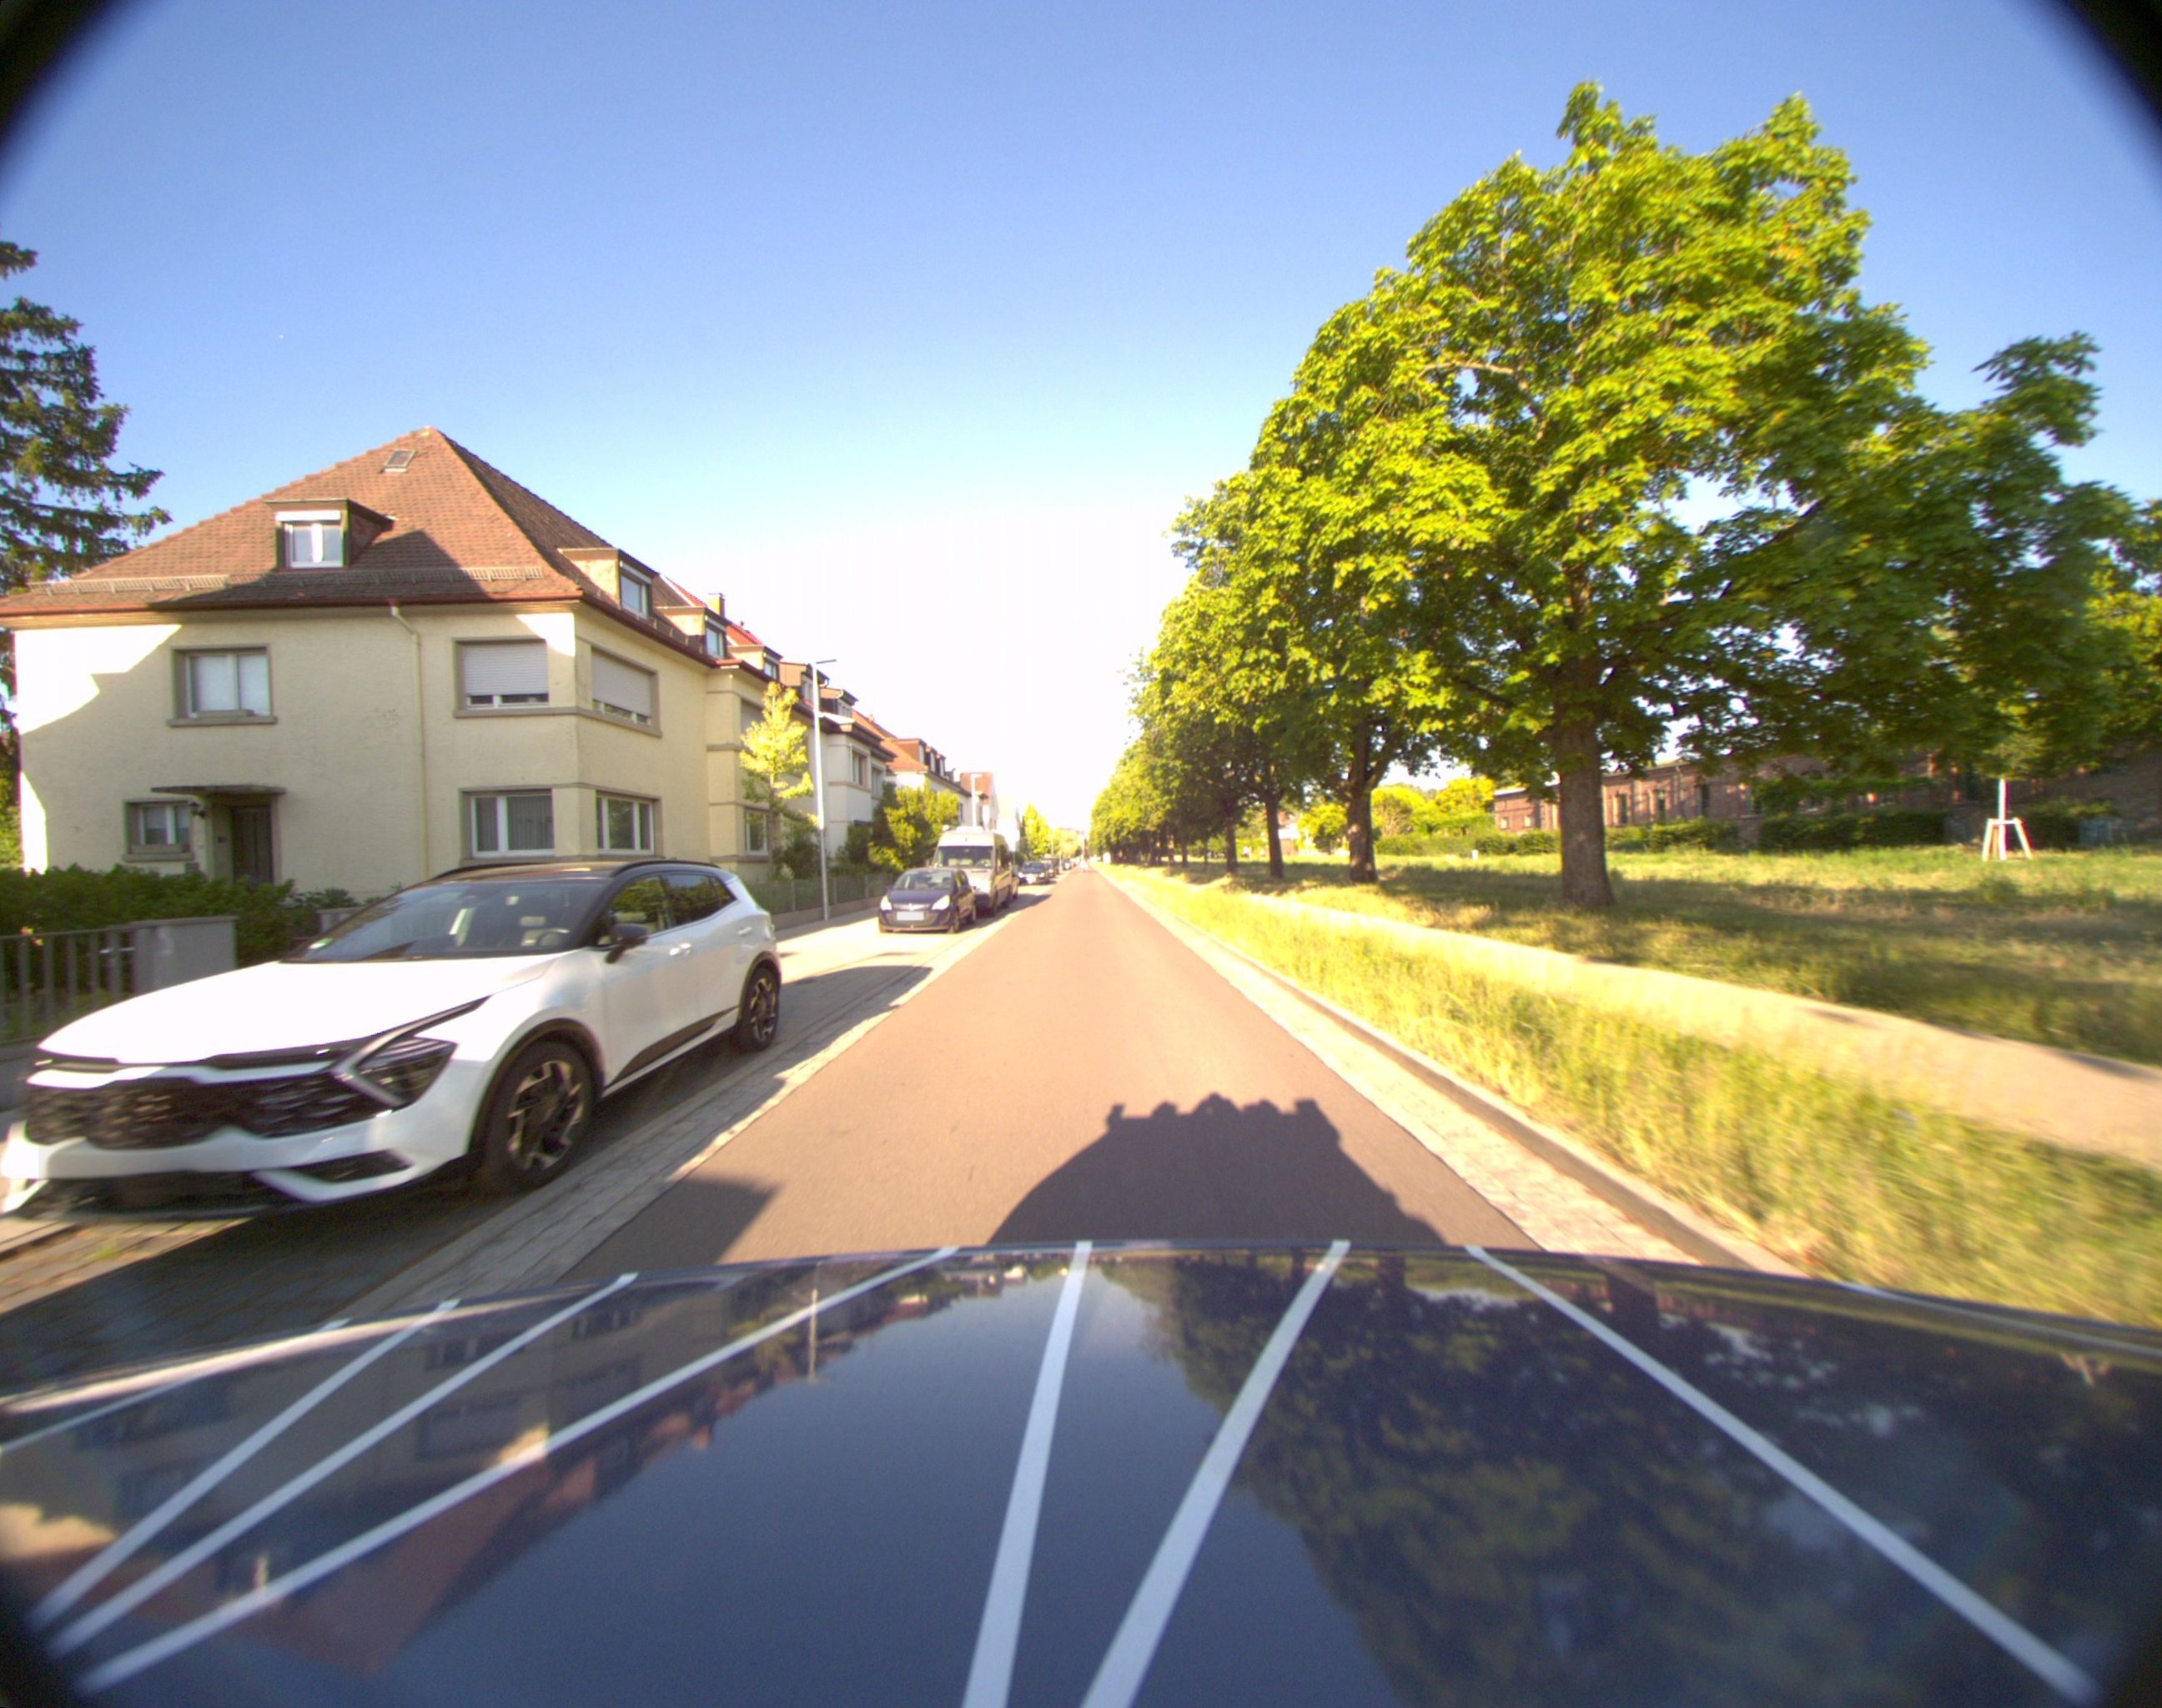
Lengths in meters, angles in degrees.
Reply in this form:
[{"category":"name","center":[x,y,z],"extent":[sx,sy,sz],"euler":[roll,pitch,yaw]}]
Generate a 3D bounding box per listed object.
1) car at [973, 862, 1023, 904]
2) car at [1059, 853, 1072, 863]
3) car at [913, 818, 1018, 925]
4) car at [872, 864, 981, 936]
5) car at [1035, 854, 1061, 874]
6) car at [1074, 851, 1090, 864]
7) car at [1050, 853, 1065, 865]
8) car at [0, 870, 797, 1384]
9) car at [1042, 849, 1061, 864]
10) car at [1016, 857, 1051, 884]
[{"category":"car","center":[-3.241,1.108,30.197],"extent":[1.467,1.490,3.357],"euler":[-2,0,2]},{"category":"car","center":[-2.664,0.689,128.650],"extent":[1.974,1.630,4.000],"euler":[-3,0,1]},{"category":"car","center":[-3.435,0.465,23.941],"extent":[2.134,2.837,5.987],"euler":[-3,0,1]},{"category":"car","center":[-3.507,0.993,17.954],"extent":[1.629,1.431,4.005],"euler":[0,0,2]},{"category":"car","center":[-2.929,0.850,68.360],"extent":[1.974,1.630,4.000],"euler":[-3,0,1]},{"category":"car","center":[0.194,0.448,96.068],"extent":[1.974,1.630,4.000],"euler":[-1,0,1]},{"category":"car","center":[-3.420,0.785,111.948],"extent":[1.974,1.630,4.000],"euler":[-3,0,1]},{"category":"car","center":[-3.570,0.989,4.829],"extent":[1.782,1.635,4.480],"euler":[-1,0,0]},{"category":"car","center":[-3.525,0.331,90.745],"extent":[1.974,1.630,4.000],"euler":[-3,0,1]},{"category":"car","center":[-3.123,1.069,50.820],"extent":[1.974,1.630,4.000],"euler":[-2,0,1]}]
